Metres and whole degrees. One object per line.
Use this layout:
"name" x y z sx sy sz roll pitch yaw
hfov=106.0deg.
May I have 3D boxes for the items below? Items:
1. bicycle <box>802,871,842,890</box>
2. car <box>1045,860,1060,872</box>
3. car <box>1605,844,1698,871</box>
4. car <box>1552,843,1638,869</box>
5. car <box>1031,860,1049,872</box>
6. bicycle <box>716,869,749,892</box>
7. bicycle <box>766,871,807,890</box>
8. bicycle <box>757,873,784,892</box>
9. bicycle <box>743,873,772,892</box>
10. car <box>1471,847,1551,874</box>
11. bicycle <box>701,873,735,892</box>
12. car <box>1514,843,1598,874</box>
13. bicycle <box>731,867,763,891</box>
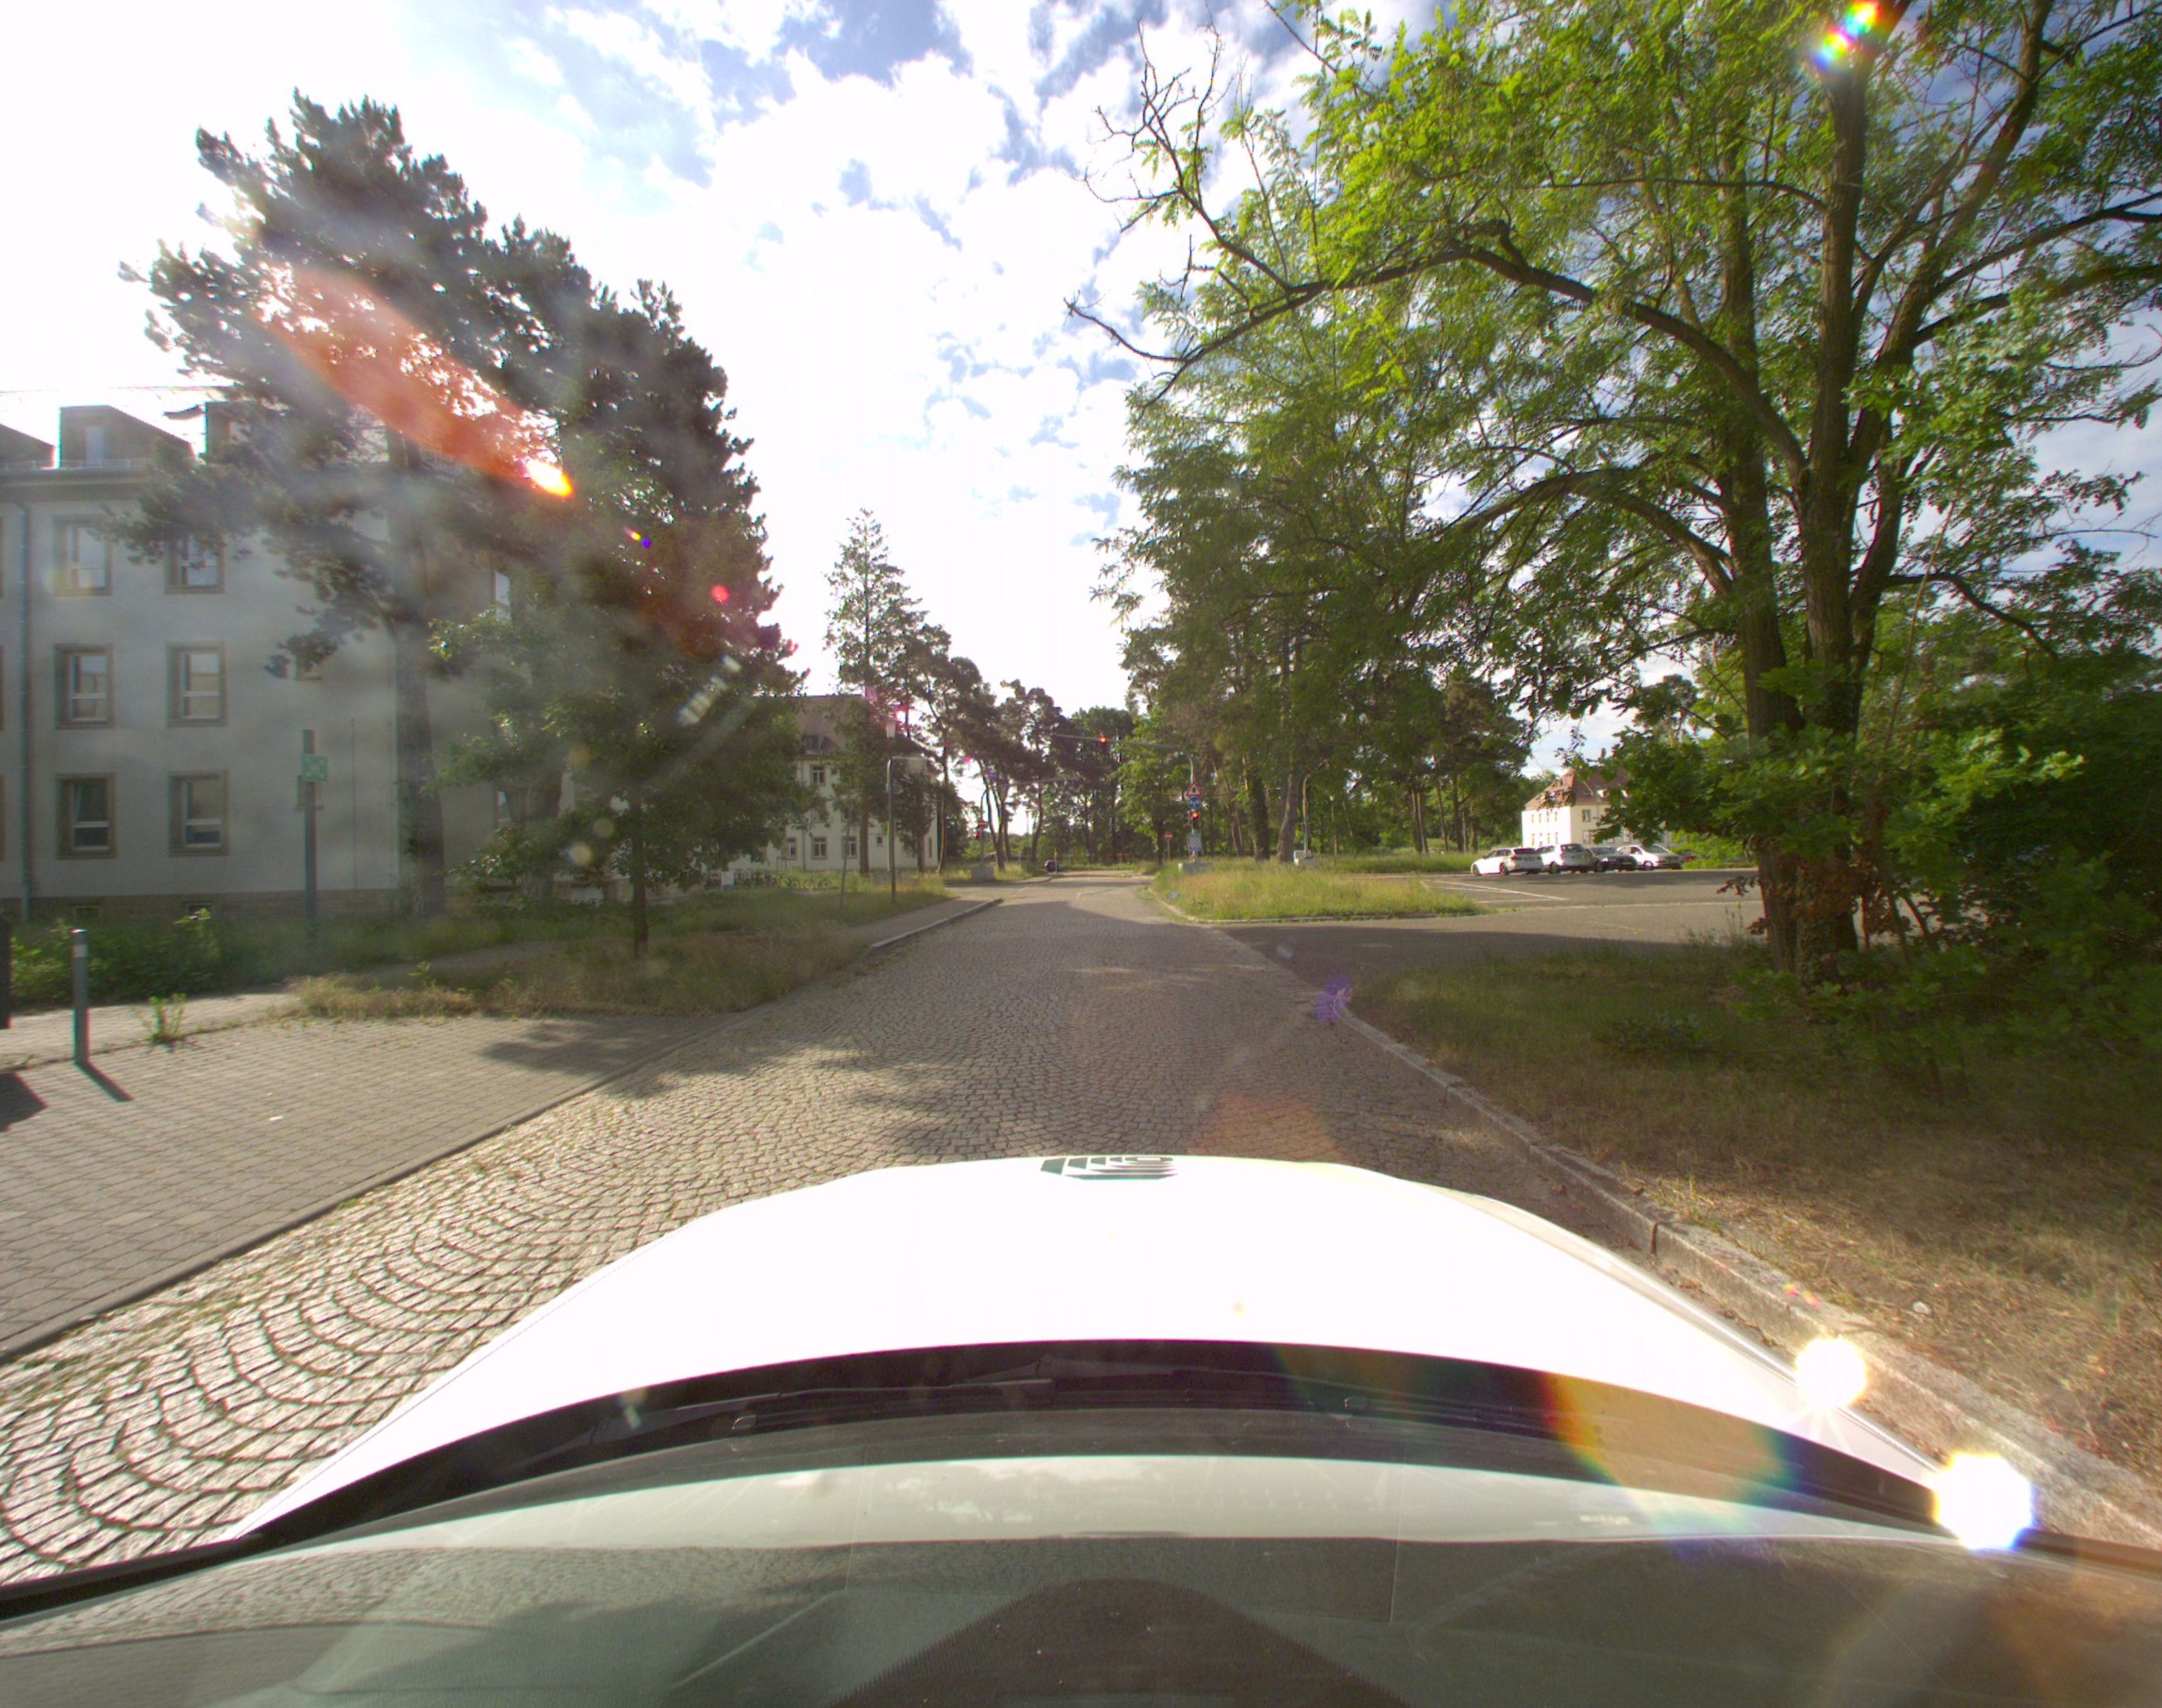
"bicycle" -15.505 1.572 48.832 2.112 1.047 0.828 -2 -1 -3
"car" -3.668 1.555 106.203 1.840 1.486 3.998 -2 0 -1
"car" 30.058 0.185 43.085 1.726 1.312 4.328 -2 0 -2
"car" 26.973 0.113 42.911 1.726 1.312 4.328 -1 0 -2
"car" -5.582 1.618 110.978 1.772 1.490 3.764 -2 0 8
"bicycle" -21.396 1.619 50.028 0.823 1.281 2.554 -2 0 1
"bicycle" -17.627 1.582 48.753 2.112 1.108 0.828 -2 -1 -3
"bicycle" -19.051 1.727 50.013 0.823 1.047 2.124 -2 0 1
"bicycle" -19.832 1.729 49.975 0.823 1.047 2.124 -2 0 1
"car" 22.184 0.326 42.251 1.726 1.312 4.328 -2 0 -2
"bicycle" -22.293 1.739 50.033 0.897 1.047 2.554 -2 0 1
"car" 24.703 0.231 42.541 1.726 1.476 4.328 -2 0 -2
"bicycle" -20.620 1.527 50.325 0.823 1.437 2.554 -2 0 1
